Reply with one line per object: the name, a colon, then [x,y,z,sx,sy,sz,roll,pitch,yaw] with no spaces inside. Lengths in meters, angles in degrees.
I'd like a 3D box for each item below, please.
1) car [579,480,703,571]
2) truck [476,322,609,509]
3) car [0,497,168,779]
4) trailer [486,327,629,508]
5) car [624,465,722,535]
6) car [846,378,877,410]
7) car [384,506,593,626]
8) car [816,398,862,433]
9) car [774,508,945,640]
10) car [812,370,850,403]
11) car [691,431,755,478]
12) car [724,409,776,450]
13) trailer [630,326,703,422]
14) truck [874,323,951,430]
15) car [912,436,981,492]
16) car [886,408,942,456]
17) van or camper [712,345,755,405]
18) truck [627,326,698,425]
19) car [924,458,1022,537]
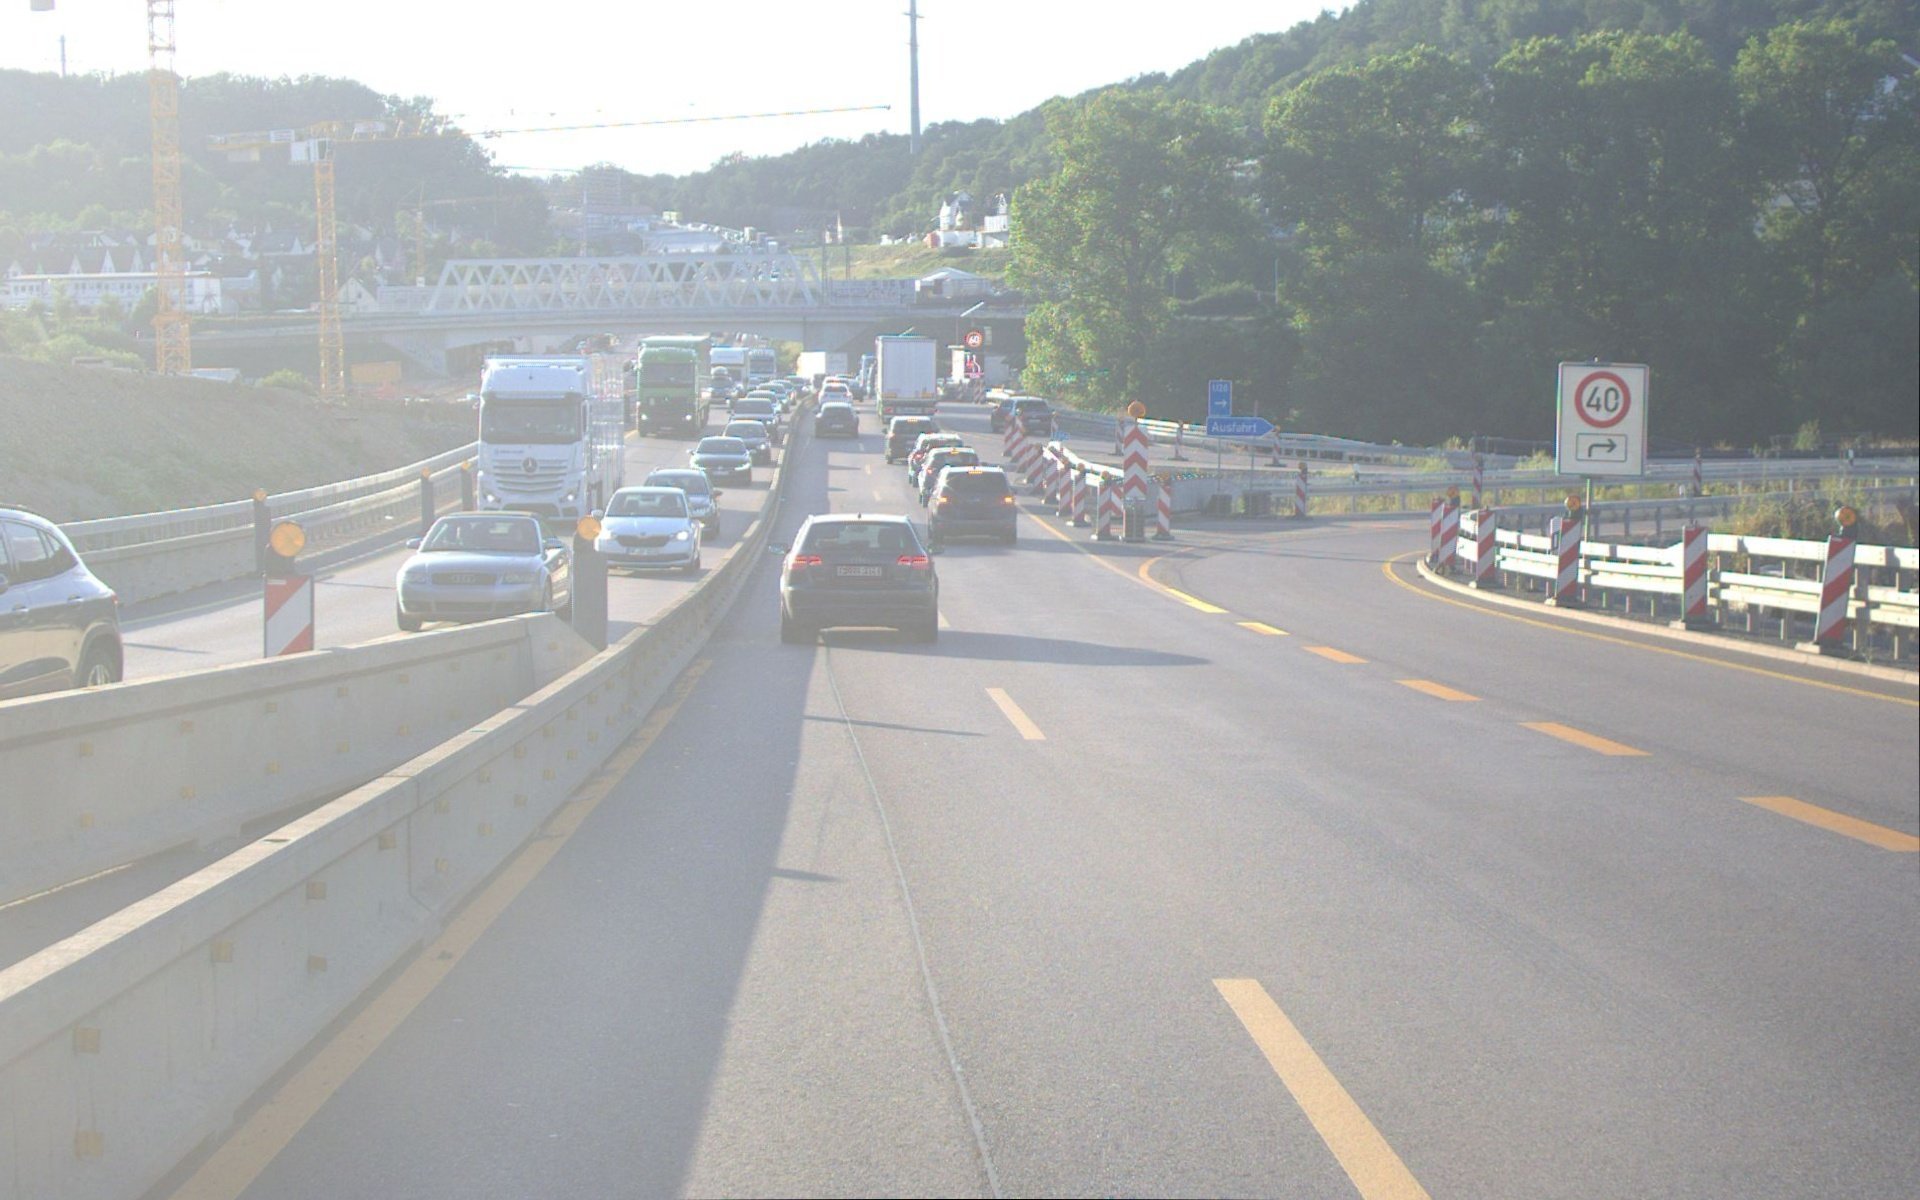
car: [-5.465,-1.290,59.285,1.788,1.483,4.220,1,1,-1]
truck: [-9.850,-4.328,81.574,2.552,4.206,6.051,1,2,-2]
car: [-6.344,0.192,20.289,1.789,1.614,4.873,1,1,6]
trailer: [-10.121,-4.561,87.686,2.530,4.198,13.937,1,2,-3]
car: [-6.305,-2.223,75.912,1.850,1.478,4.512,-1,2,-1]
car: [-6.258,-13.076,218.329,1.923,1.547,4.000,3,-2,-1]
car: [-5.667,-0.451,41.861,1.789,1.353,4.635,1,1,1]
car: [-5.047,-7.704,143.671,1.863,1.415,4.001,0,3,-1]
car: [-1.185,-0.329,38.905,1.769,1.385,4.001,0,2,-4]
car: [-6.873,-11.399,183.480,1.923,1.546,4.000,0,1,-1]
car: [-7.352,-4.529,106.890,1.836,1.404,4.496,0,3,-2]
car: [-7.434,-6.060,121.997,1.715,1.404,4.328,0,3,-2]
trailer: [-12.888,-9.983,151.708,2.773,4.016,13.687,1,4,-3]
truck: [-2.335,-10.727,163.508,3.385,4.481,15.273,1,6,-2]
car: [-0.437,-4.202,105.640,1.875,1.593,4.967,0,4,-3]
car: [-1.660,-5.979,121.973,1.814,1.626,4.412,0,4,-3]
van or camper: [-13.702,-13.687,208.572,2.457,3.485,7.416,0,5,-2]
truck: [-12.531,-9.487,144.998,2.769,4.066,5.778,1,4,-3]
car: [0.246,-2.173,73.645,1.812,1.610,4.527,1,1,-3]
